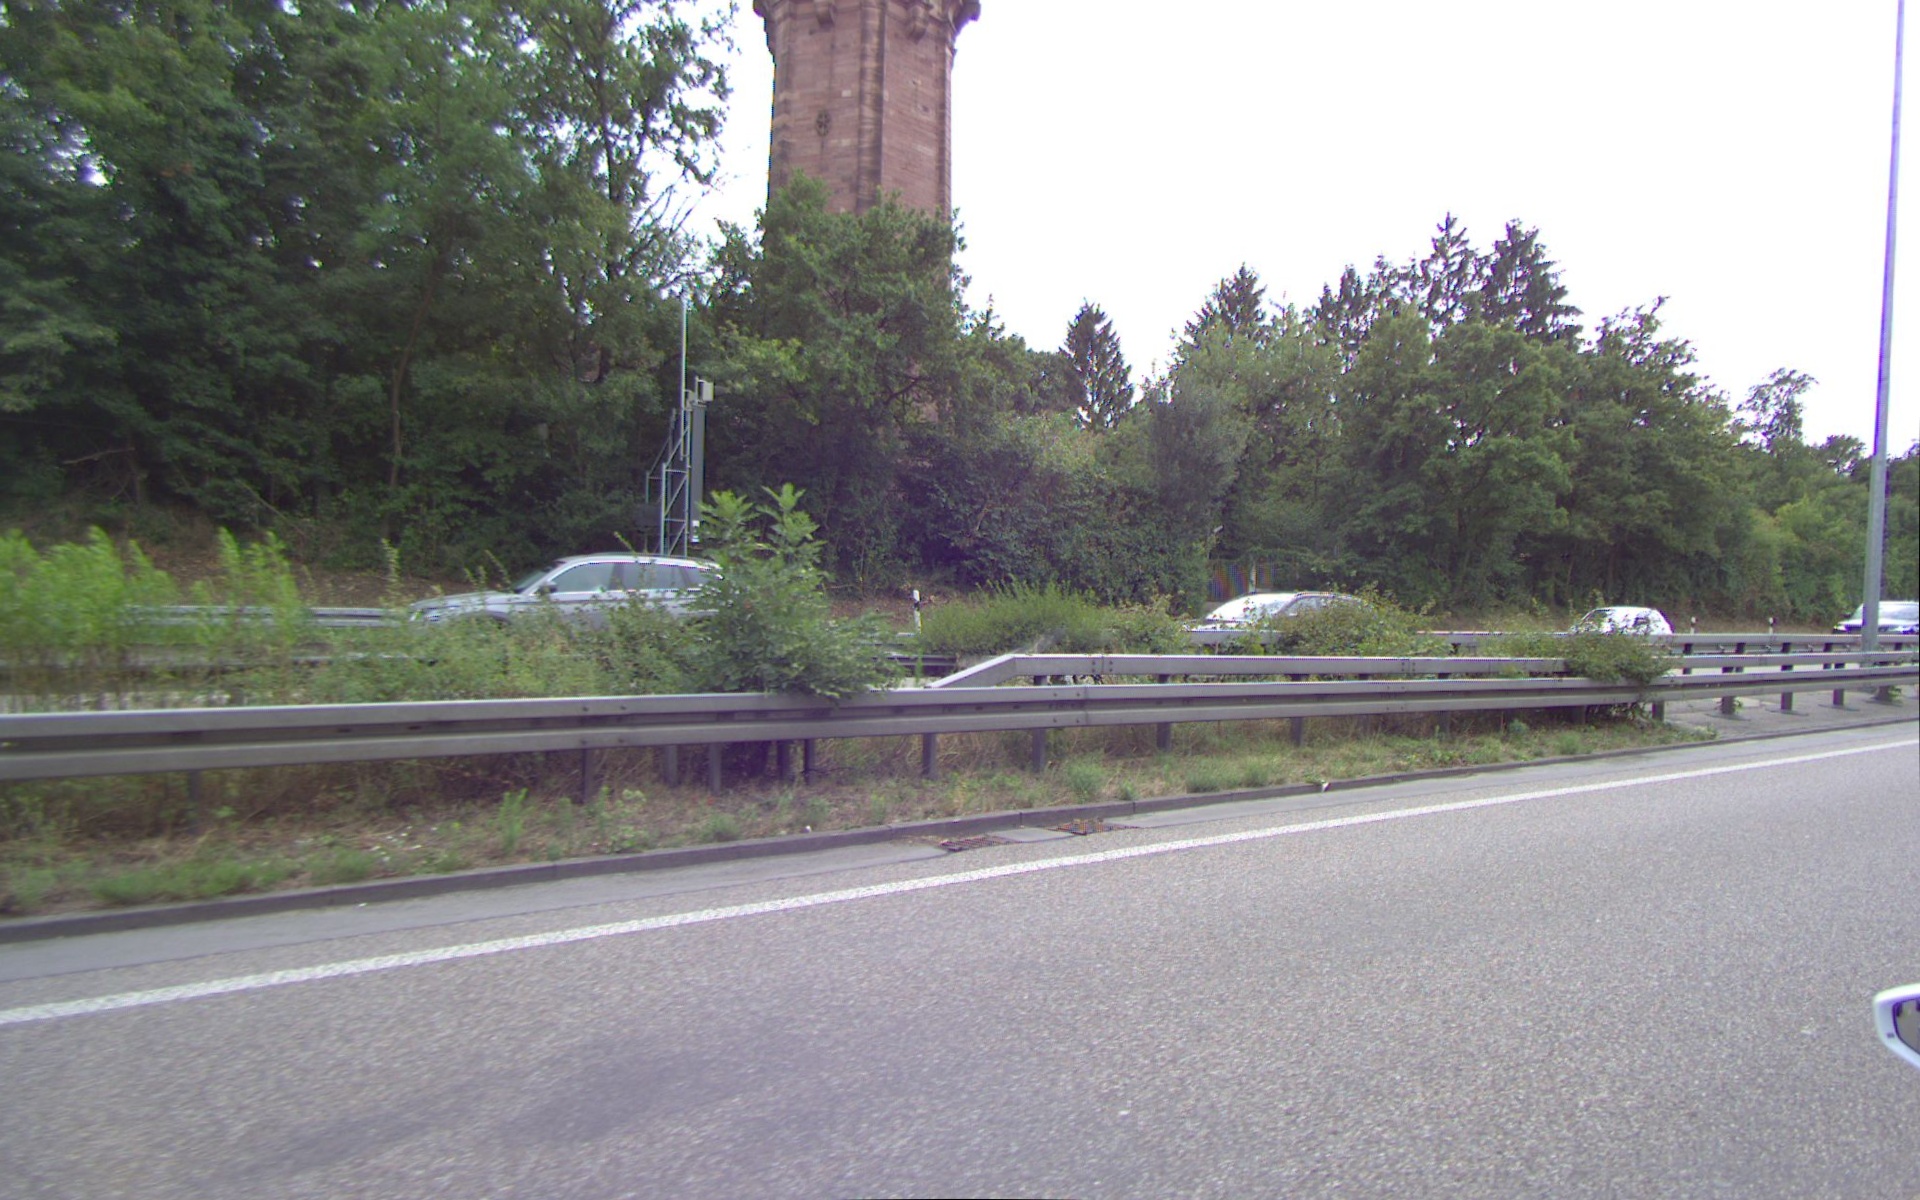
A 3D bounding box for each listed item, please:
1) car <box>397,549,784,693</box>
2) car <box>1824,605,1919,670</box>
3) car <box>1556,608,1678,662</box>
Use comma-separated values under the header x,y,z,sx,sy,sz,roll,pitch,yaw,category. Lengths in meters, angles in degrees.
x,y,z,sx,sy,sz,roll,pitch,yaw,category
-5.009,0.312,13.796,4.717,1.679,1.984,2,-1,-30,car
29.049,1.164,31.383,4.903,1.860,1.781,2,-1,-33,car
19.660,1.049,30.016,3.686,1.528,1.620,2,-1,-31,car
